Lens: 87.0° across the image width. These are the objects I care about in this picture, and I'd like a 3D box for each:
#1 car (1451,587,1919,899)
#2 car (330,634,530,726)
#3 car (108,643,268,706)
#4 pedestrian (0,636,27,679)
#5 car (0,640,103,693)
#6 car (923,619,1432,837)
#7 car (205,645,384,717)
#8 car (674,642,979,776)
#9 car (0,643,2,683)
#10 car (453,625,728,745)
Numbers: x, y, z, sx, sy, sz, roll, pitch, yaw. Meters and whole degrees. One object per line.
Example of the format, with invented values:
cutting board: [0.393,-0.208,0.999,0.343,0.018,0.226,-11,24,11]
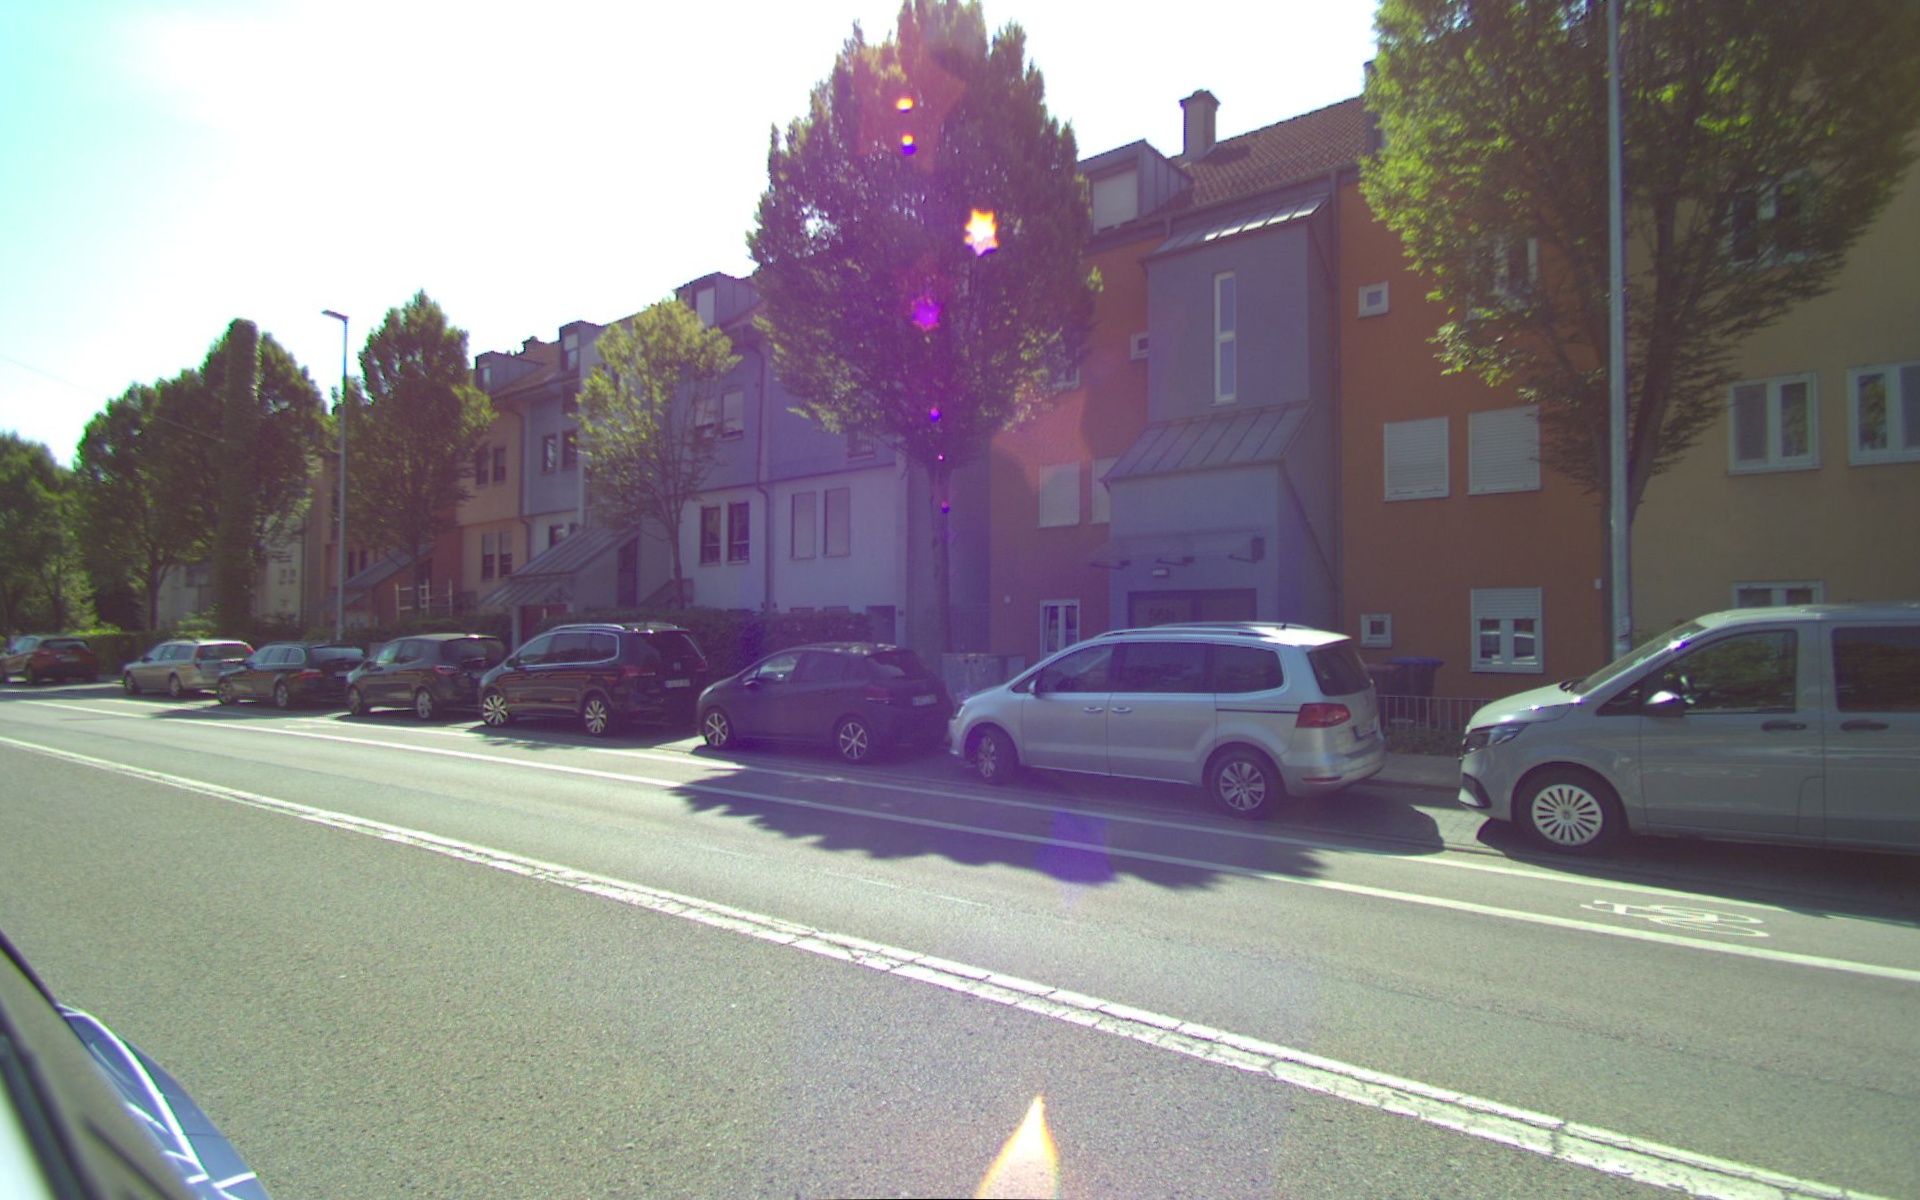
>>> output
car: [6.628,0.902,7.207,5.346,1.963,1.902,-2,0,38]
car: [-10.638,1.525,20.208,4.300,1.637,1.703,-2,-2,34]
car: [-20.803,1.936,27.219,4.839,1.495,1.768,-1,-1,31]
pedestrian: [-37.717,2.270,40.018,1.051,1.704,0.869,-2,-3,29]
car: [-29.774,2.123,32.808,4.301,1.563,1.718,-2,-2,30]
car: [2.069,1.135,10.591,4.903,1.737,1.783,-2,0,38]
car: [-15.471,1.807,23.460,4.699,1.485,1.709,-2,-1,32]
car: [-1.887,1.357,13.742,4.039,1.485,1.676,-2,0,35]
car: [-37.214,2.333,37.213,4.264,1.440,1.745,-2,-2,30]
car: [-6.278,1.332,16.966,4.855,1.736,1.755,-2,-1,33]
